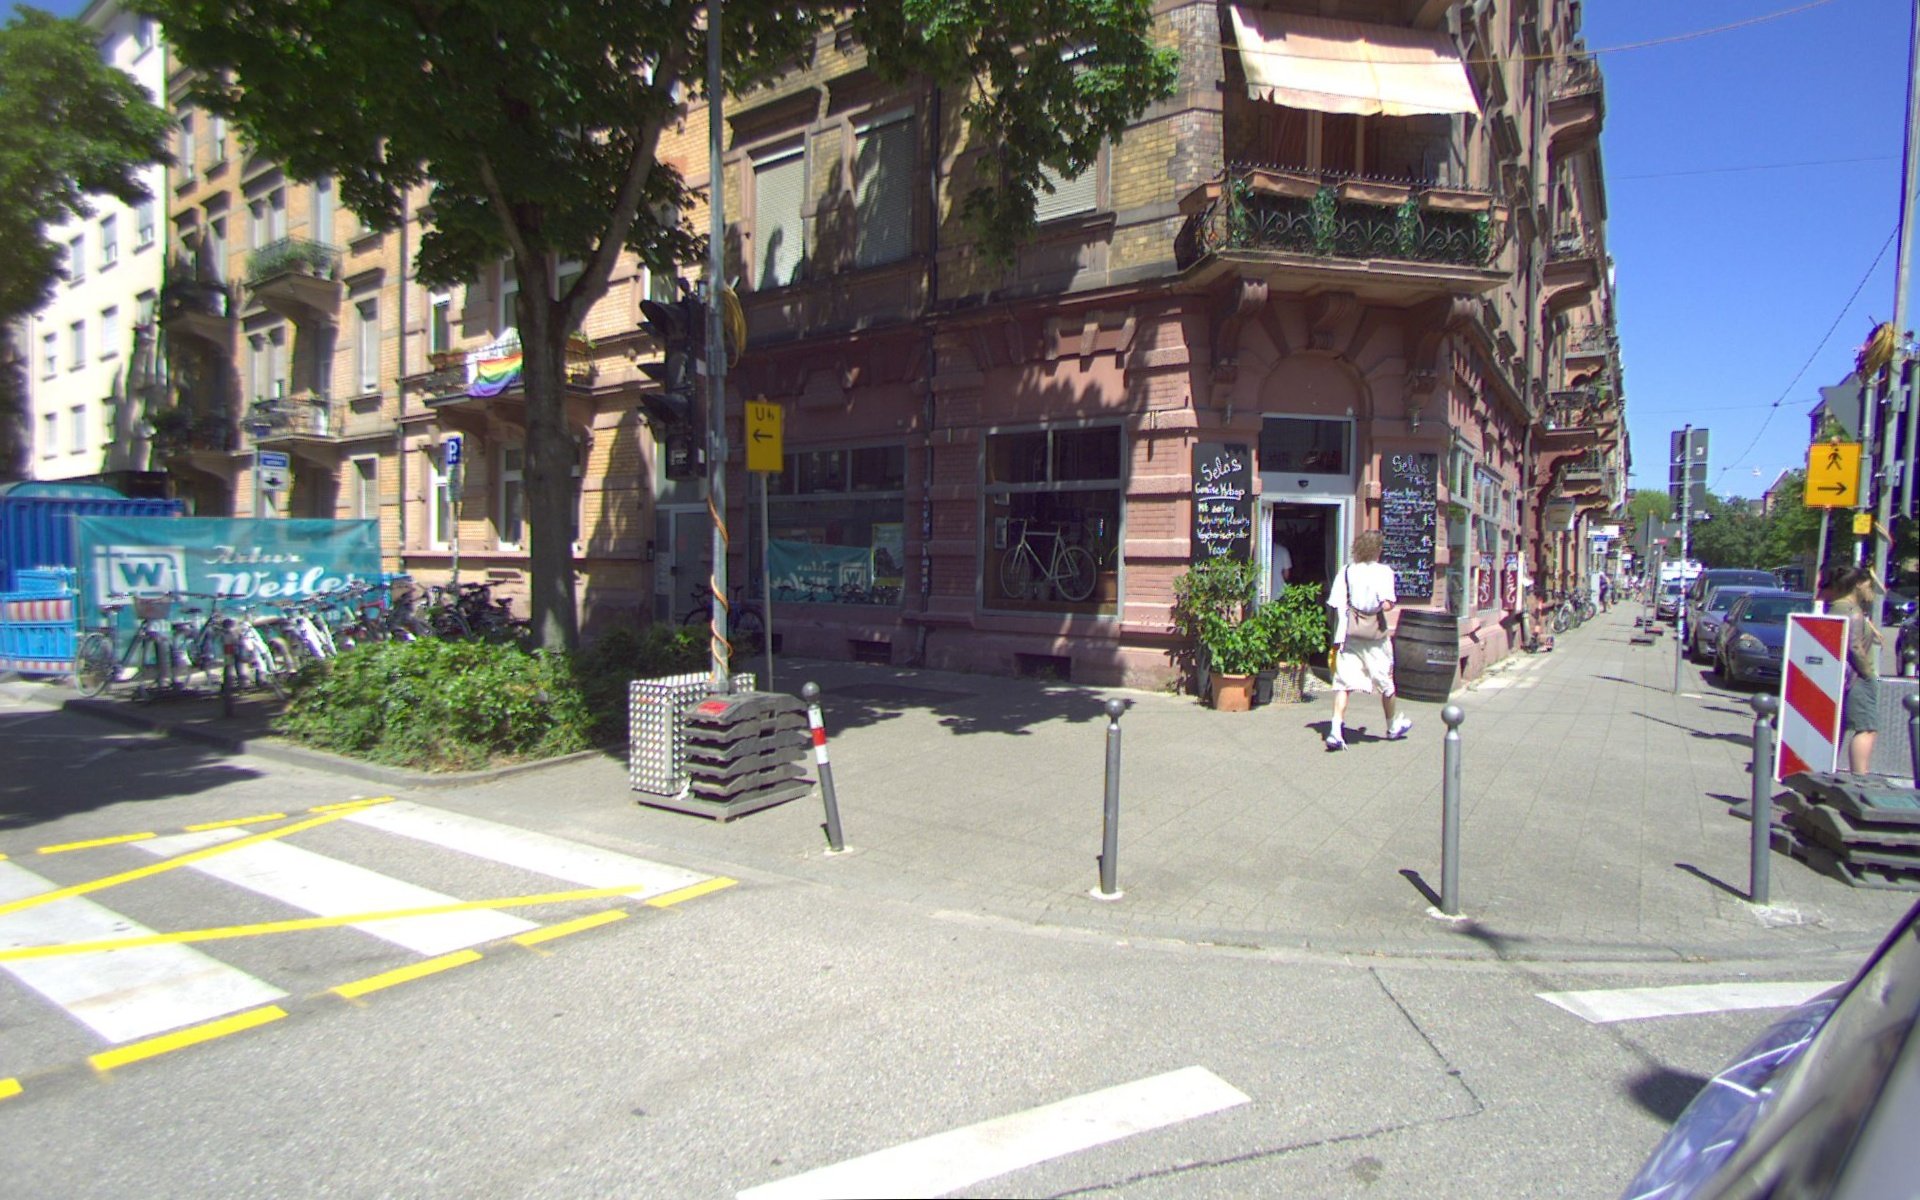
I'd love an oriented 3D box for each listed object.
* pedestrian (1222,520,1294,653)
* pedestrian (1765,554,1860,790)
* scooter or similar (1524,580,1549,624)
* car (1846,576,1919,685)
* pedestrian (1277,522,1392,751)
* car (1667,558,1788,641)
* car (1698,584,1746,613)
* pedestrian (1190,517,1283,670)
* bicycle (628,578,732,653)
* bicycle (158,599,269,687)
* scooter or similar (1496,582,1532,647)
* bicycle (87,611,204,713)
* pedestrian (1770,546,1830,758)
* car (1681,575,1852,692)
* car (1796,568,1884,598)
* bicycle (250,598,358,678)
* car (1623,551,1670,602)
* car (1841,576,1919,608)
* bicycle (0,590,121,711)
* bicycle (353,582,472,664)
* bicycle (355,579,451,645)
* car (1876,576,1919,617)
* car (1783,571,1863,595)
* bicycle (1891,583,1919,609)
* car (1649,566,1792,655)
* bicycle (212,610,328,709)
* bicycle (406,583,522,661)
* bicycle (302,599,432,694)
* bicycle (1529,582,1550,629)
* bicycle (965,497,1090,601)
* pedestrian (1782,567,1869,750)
[{"bbox_3d":[3.973,-0.186,13.509,0.709,1.739,0.498,1,3,-12],"label":"pedestrian"},{"bbox_3d":[5.963,0.472,7.096,0.459,1.579,0.472,2,2,40],"label":"pedestrian"},{"bbox_3d":[15.982,0.026,28.058,0.474,1.167,2.124,1,2,33],"label":"scooter or similar"},{"bbox_3d":[15.021,0.386,15.380,1.769,1.487,3.953,0,1,33],"label":"car"},{"bbox_3d":[3.019,0.258,8.159,0.856,1.753,0.479,-2,3,-38],"label":"pedestrian"},{"bbox_3d":[18.452,-0.087,24.521,1.816,1.788,4.290,3,3,31],"label":"car"},{"bbox_3d":[40.400,-0.129,53.714,1.737,1.407,3.953,2,2,33],"label":"car"},{"bbox_3d":[3.396,-0.087,12.469,0.922,1.840,0.458,1,4,-13],"label":"pedestrian"},{"bbox_3d":[-4.124,0.204,14.856,1.685,1.020,0.516,2,2,35],"label":"bicycle"},{"bbox_3d":[-8.735,0.467,11.809,2.064,0.882,0.502,2,2,38],"label":"bicycle"},{"bbox_3d":[10.432,0.253,19.042,0.292,1.191,1.252,1,2,43],"label":"scooter or similar"},{"bbox_3d":[-8.572,0.610,10.621,2.064,0.882,0.502,2,2,38],"label":"bicycle"},{"bbox_3d":[6.907,0.408,8.333,0.332,1.696,0.396,2,2,40],"label":"pedestrian"},{"bbox_3d":[11.826,0.388,15.045,1.622,1.449,3.616,3,3,34],"label":"car"},{"bbox_3d":[54.441,-1.089,62.708,3.861,1.769,1.632,2,2,34],"label":"car"},{"bbox_3d":[-8.361,0.448,12.865,2.064,0.882,0.502,2,2,38],"label":"bicycle"},{"bbox_3d":[38.487,-1.301,56.807,2.054,2.736,4.980,0,1,33],"label":"car"},{"bbox_3d":[48.062,-0.421,52.072,3.861,1.548,1.632,2,2,34],"label":"car"},{"bbox_3d":[-9.351,0.481,10.388,1.768,1.120,0.504,2,2,28],"label":"bicycle"},{"bbox_3d":[-6.737,0.246,12.399,2.064,0.882,0.502,2,2,38],"label":"bicycle"},{"bbox_3d":[-8.353,0.152,15.142,2.064,0.882,0.502,2,2,38],"label":"bicycle"},{"bbox_3d":[35.723,-0.105,36.562,3.878,1.443,1.787,2,2,43],"label":"car"},{"bbox_3d":[57.446,-1.131,67.440,3.861,1.514,1.632,2,2,34],"label":"car"},{"bbox_3d":[41.248,-0.184,43.639,1.602,1.104,0.366,0,0,40],"label":"bicycle"},{"bbox_3d":[14.523,0.104,19.544,1.718,1.449,4.436,3,3,31],"label":"car"},{"bbox_3d":[-7.253,0.585,10.612,1.736,0.882,0.502,2,2,38],"label":"bicycle"},{"bbox_3d":[-6.420,0.250,13.044,2.064,0.882,0.502,2,2,38],"label":"bicycle"},{"bbox_3d":[-6.518,0.471,11.075,2.064,0.882,0.502,2,2,38],"label":"bicycle"},{"bbox_3d":[14.586,0.115,25.452,0.352,1.117,1.735,2,2,33],"label":"bicycle"},{"bbox_3d":[0.777,-0.594,11.915,1.418,1.166,0.503,2,2,37],"label":"bicycle"},{"bbox_3d":[7.743,0.501,9.071,0.492,1.561,0.430,5,4,40],"label":"pedestrian"}]
